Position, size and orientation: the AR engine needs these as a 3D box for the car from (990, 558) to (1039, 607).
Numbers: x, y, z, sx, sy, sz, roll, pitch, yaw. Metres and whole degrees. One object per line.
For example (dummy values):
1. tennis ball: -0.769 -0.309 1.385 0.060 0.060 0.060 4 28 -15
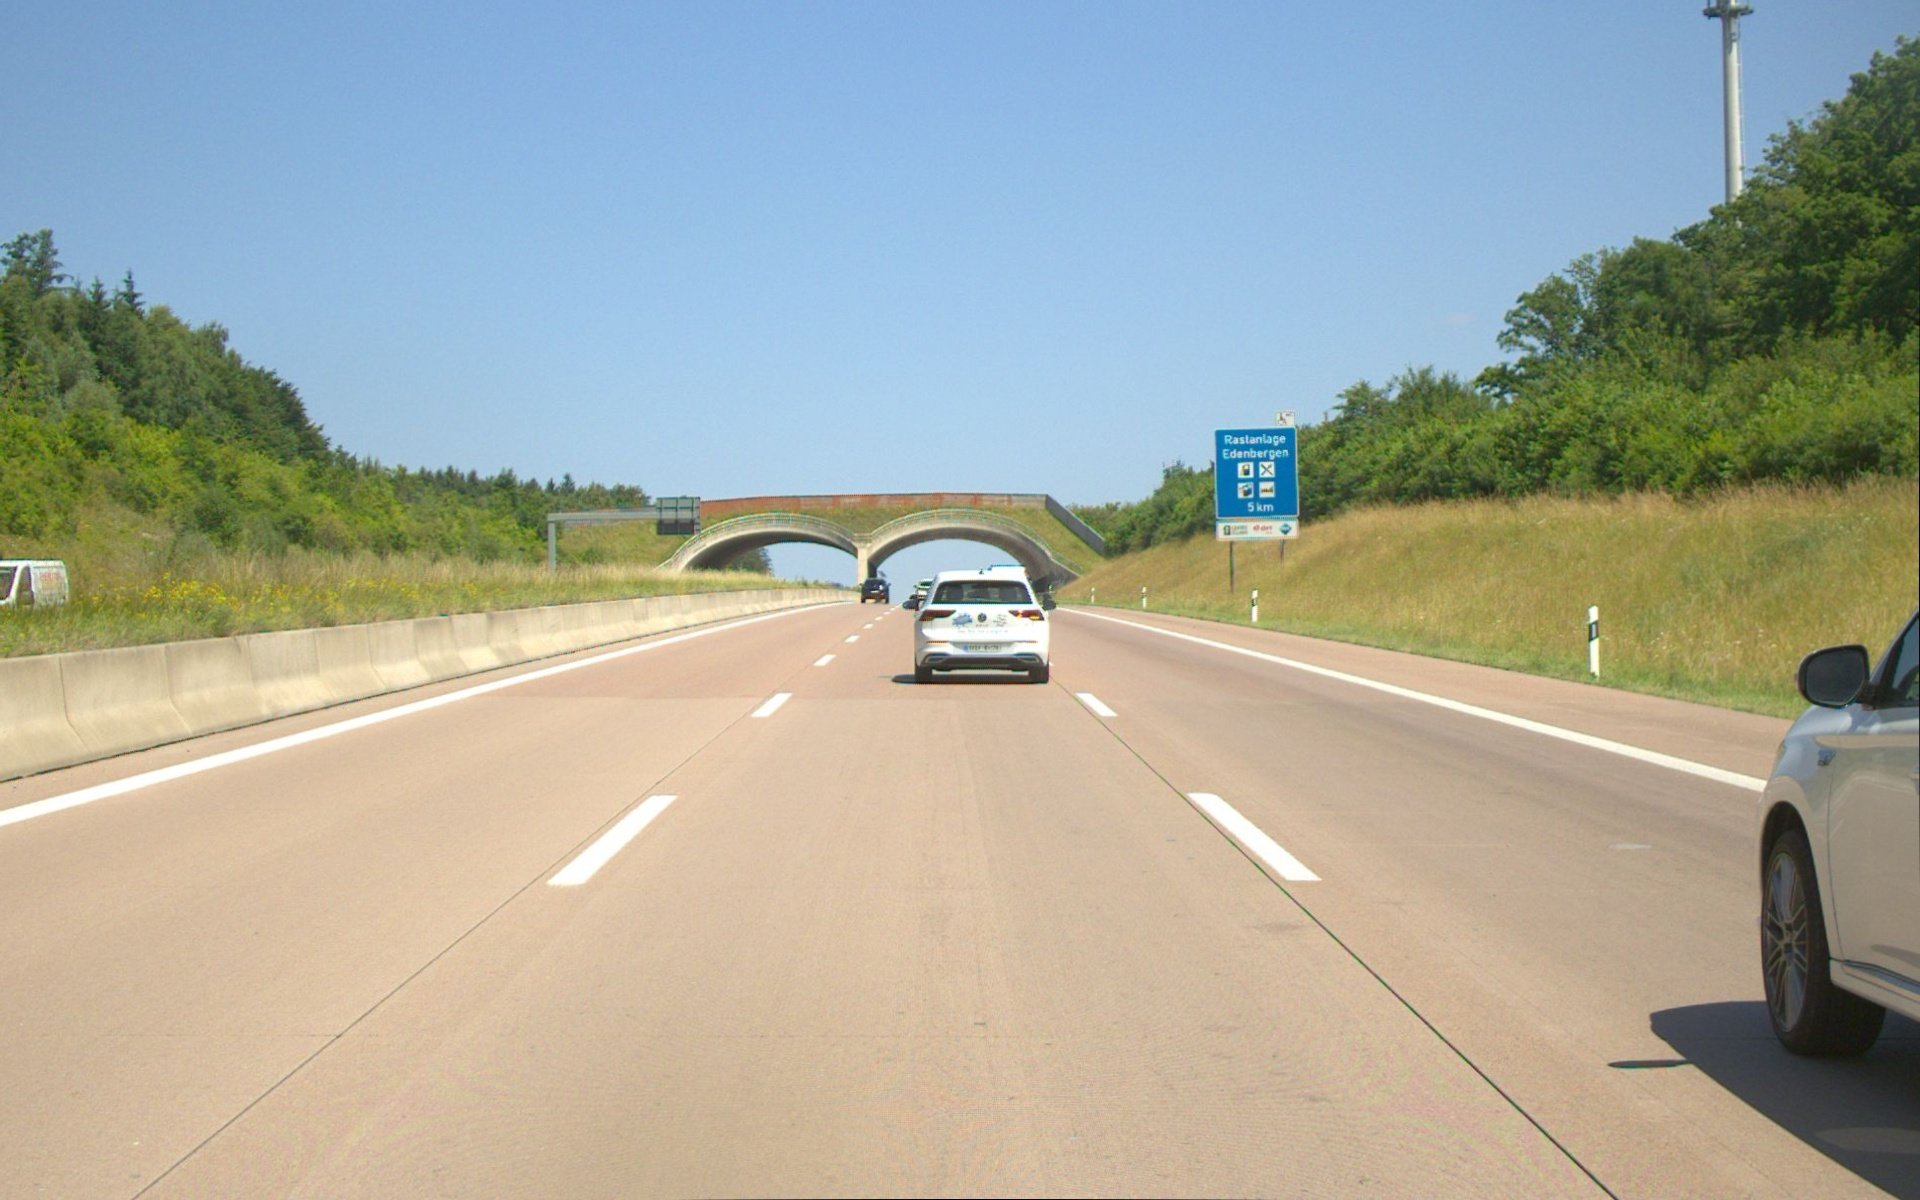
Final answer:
1. car: 2.389 -0.785 149.864 2.110 2.047 4.000 0 1 2

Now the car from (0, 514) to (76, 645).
1. car: -15.938 -0.385 56.336 1.890 2.057 4.664 0 1 -2

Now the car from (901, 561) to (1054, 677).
1. car: 0.269 0.215 45.041 1.891 1.393 4.000 1 1 2

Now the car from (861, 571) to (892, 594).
1. car: -5.684 -1.215 235.084 1.891 1.458 4.000 0 1 2

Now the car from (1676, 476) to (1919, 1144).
1. car: 3.423 0.540 9.248 1.891 1.722 5.186 0 1 0

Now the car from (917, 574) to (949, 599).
1. car: -1.650 -0.831 210.072 1.891 1.458 4.000 1 1 0
